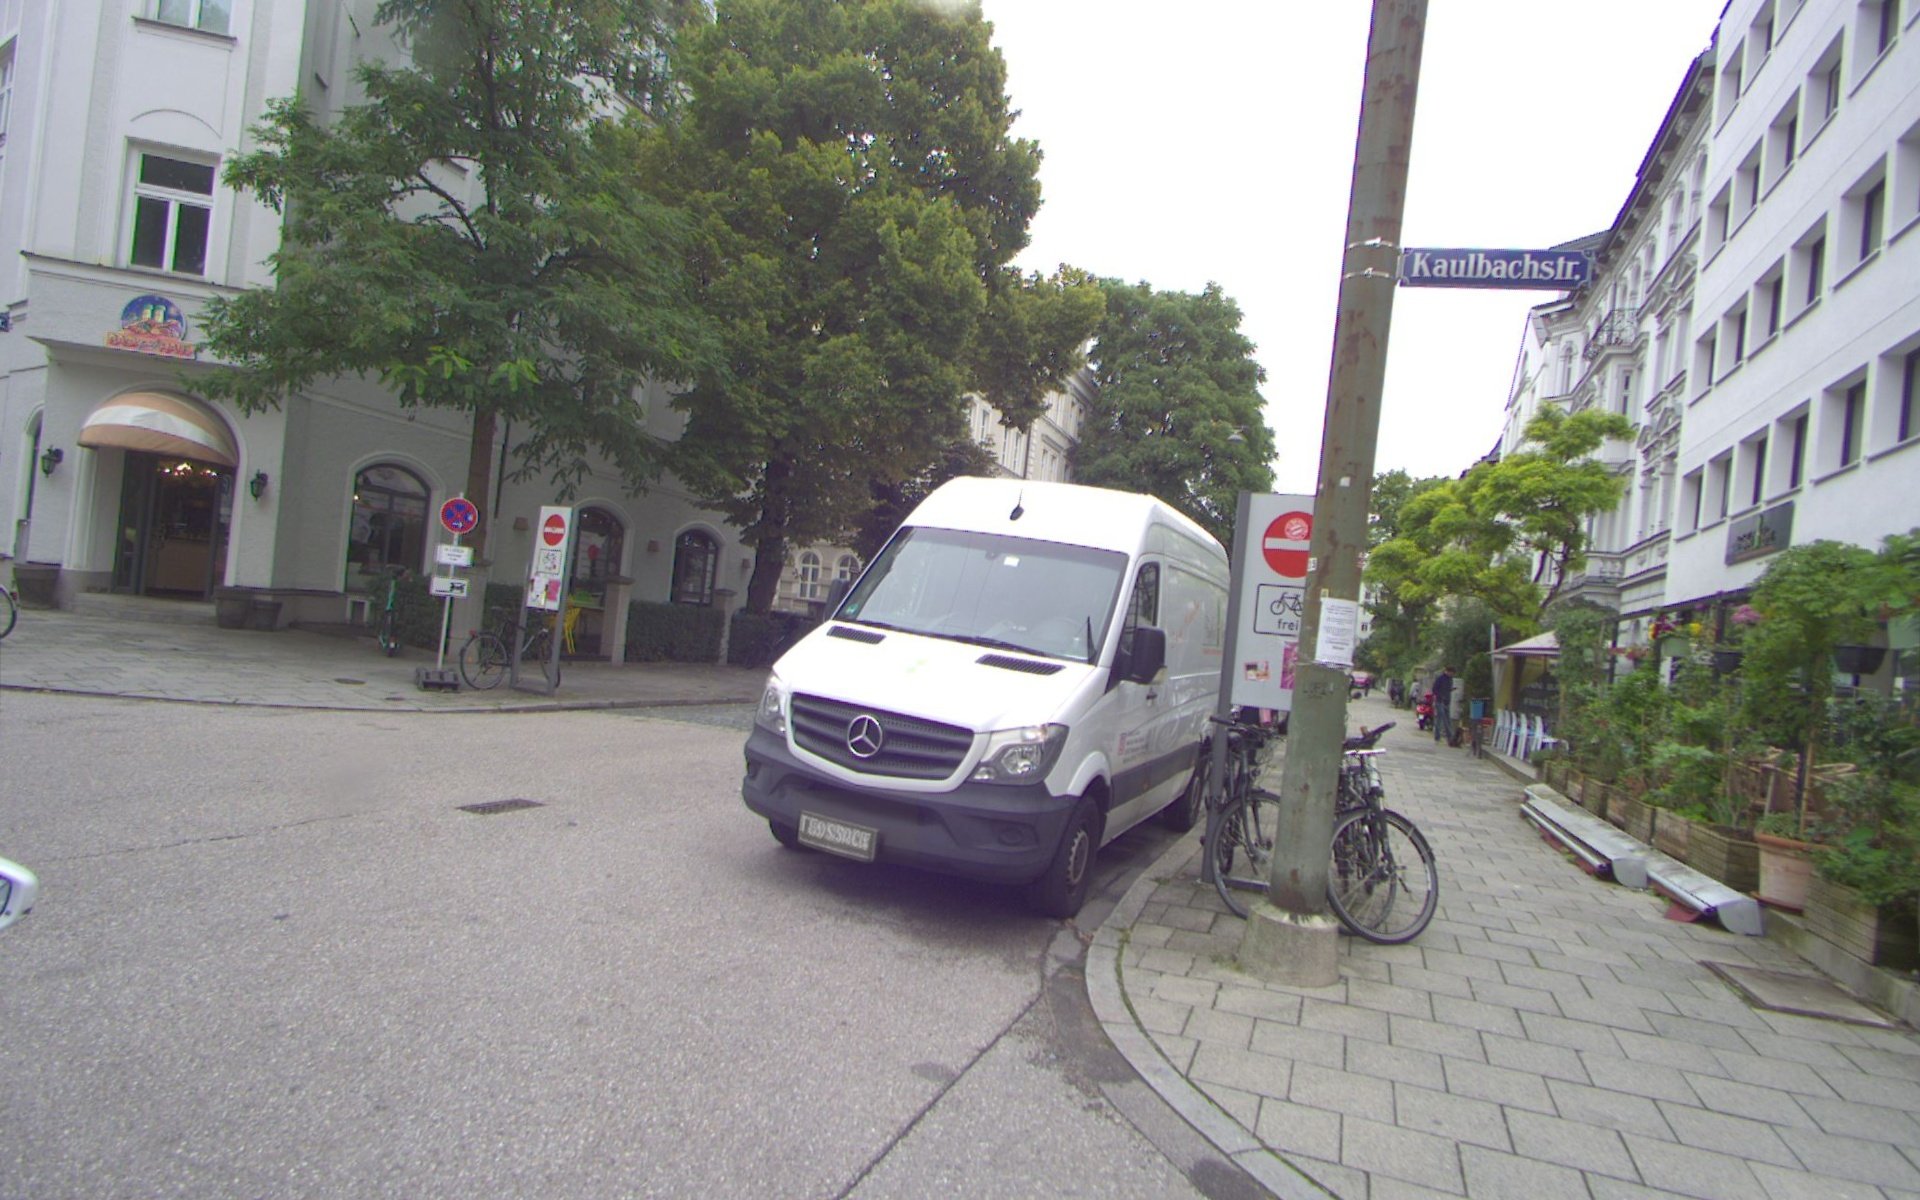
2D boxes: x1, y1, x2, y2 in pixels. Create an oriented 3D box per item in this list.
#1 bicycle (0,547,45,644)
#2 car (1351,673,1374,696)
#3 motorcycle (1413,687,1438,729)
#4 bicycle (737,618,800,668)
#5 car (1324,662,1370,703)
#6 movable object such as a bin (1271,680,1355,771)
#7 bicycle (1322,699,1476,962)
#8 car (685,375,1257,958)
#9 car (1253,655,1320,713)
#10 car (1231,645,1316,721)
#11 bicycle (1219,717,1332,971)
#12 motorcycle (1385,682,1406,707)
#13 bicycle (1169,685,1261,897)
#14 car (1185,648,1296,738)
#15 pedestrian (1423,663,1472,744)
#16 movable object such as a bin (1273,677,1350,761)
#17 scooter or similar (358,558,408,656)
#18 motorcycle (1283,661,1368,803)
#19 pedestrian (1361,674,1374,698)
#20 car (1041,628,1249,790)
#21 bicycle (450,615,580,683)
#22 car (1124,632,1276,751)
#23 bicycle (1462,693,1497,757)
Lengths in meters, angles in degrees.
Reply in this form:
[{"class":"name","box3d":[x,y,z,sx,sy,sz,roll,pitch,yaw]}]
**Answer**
[{"class":"bicycle","box3d":[-11.187,-0.117,11.150,1.722,1.012,0.540,6,3,8]},{"class":"car","box3d":[41.057,8.600,102.726,1.963,2.037,4.512,6,-1,21]},{"class":"motorcycle","box3d":[13.695,3.170,29.567,0.464,1.141,1.413,6,-1,29]},{"class":"bicycle","box3d":[-4.124,0.943,21.725,0.423,0.959,1.461,9,0,26]},{"class":"car","box3d":[20.031,4.236,52.050,1.963,1.837,4.000,6,-1,22]},{"class":"movable object such as a bin","box3d":[5.065,1.770,14.467,0.990,1.124,1.098,6,-1,20]},{"class":"bicycle","box3d":[2.495,1.194,5.781,0.581,1.141,1.907,6,-1,23]},{"class":"car","box3d":[0.741,0.416,7.713,2.022,2.622,5.912,7,-1,23]},{"class":"car","box3d":[10.870,2.748,33.347,1.831,1.610,4.001,6,-1,20]},{"class":"car","box3d":[8.784,2.267,27.965,1.899,1.763,4.001,6,-1,20]},{"class":"bicycle","box3d":[1.730,1.242,5.437,0.334,1.141,1.181,6,-1,25]},{"class":"motorcycle","box3d":[22.375,4.829,51.640,0.831,1.182,2.340,6,-1,25]},{"class":"bicycle","box3d":[1.612,1.103,6.244,0.363,1.084,1.508,6,-1,18]},{"class":"car","box3d":[6.392,2.024,22.590,1.831,1.626,4.000,6,-1,22]},{"class":"pedestrian","box3d":[11.072,2.346,22.838,0.715,1.736,0.686,6,0,39]},{"class":"movable object such as a bin","box3d":[5.424,1.813,15.535,0.990,1.124,1.098,6,-1,20]},{"class":"scooter or similar","box3d":[-8.381,0.086,14.596,0.424,1.295,1.267,7,0,-33]},{"class":"motorcycle","box3d":[4.222,1.448,11.518,0.646,1.401,2.177,6,-1,24]},{"class":"pedestrian","box3d":[28.205,5.954,69.686,0.644,1.533,0.775,6,0,25]},{"class":"car","box3d":[2.514,1.289,12.788,1.762,1.465,4.001,8,-1,21]},{"class":"bicycle","box3d":[-5.766,0.648,13.081,0.536,0.793,1.412,6,0,40]},{"class":"car","box3d":[4.336,1.551,17.657,1.778,1.587,4.253,8,-1,23]},{"class":"bicycle","box3d":[10.170,2.425,19.660,0.464,1.141,1.413,6,-1,29]}]
